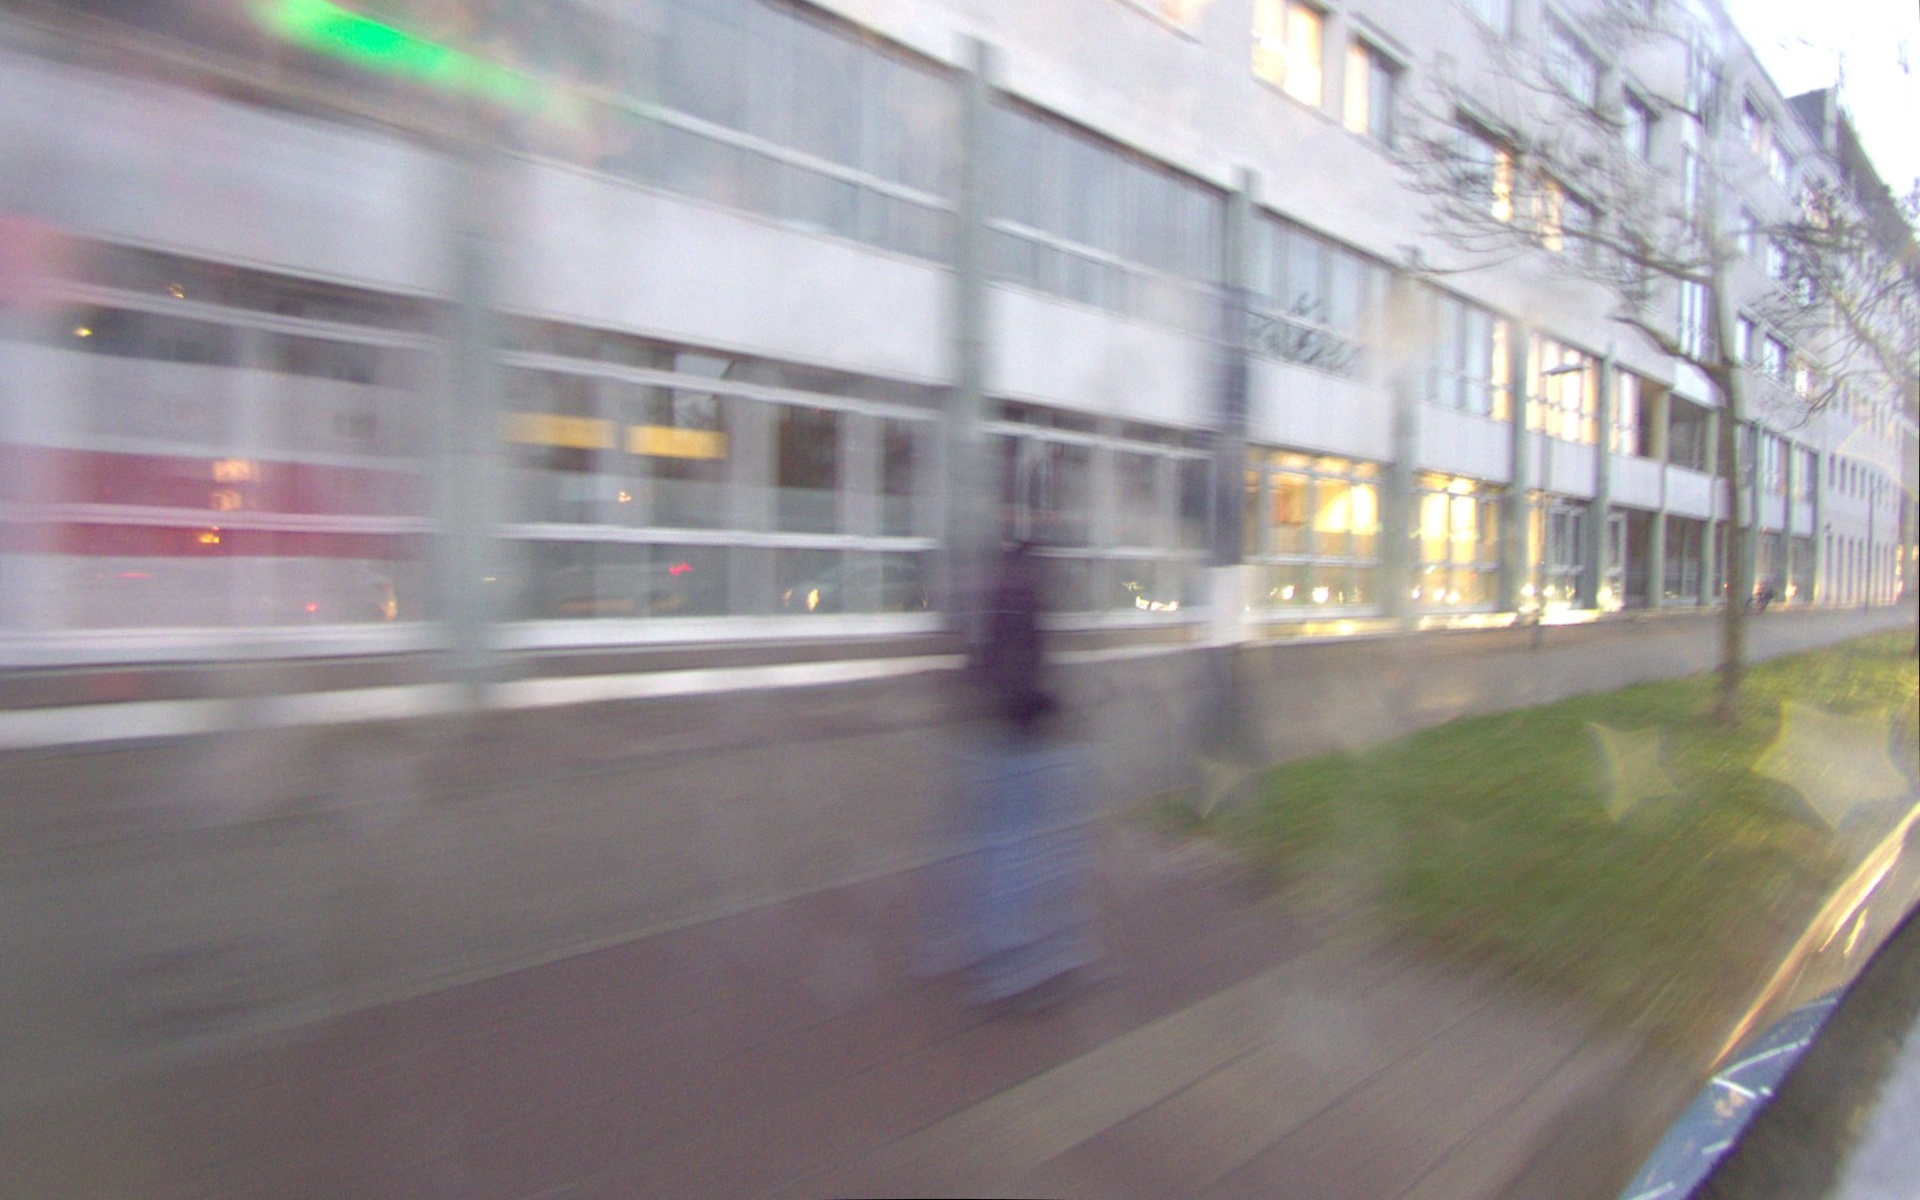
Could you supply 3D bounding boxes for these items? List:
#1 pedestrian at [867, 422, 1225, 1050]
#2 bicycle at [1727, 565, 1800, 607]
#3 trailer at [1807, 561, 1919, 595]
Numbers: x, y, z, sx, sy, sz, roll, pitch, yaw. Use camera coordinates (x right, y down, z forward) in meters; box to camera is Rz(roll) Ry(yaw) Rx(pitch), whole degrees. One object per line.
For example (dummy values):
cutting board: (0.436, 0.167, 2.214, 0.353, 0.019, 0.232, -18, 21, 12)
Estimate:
pedestrian: (0.217, 0.378, 3.298, 0.843, 1.770, 0.801, 2, 4, -13)
bicycle: (27.242, -0.467, 34.295, 2.406, 1.288, 0.827, 1, 5, -24)
trailer: (55.107, -1.366, 61.582, 2.089, 1.935, 5.085, 1, 1, -35)
